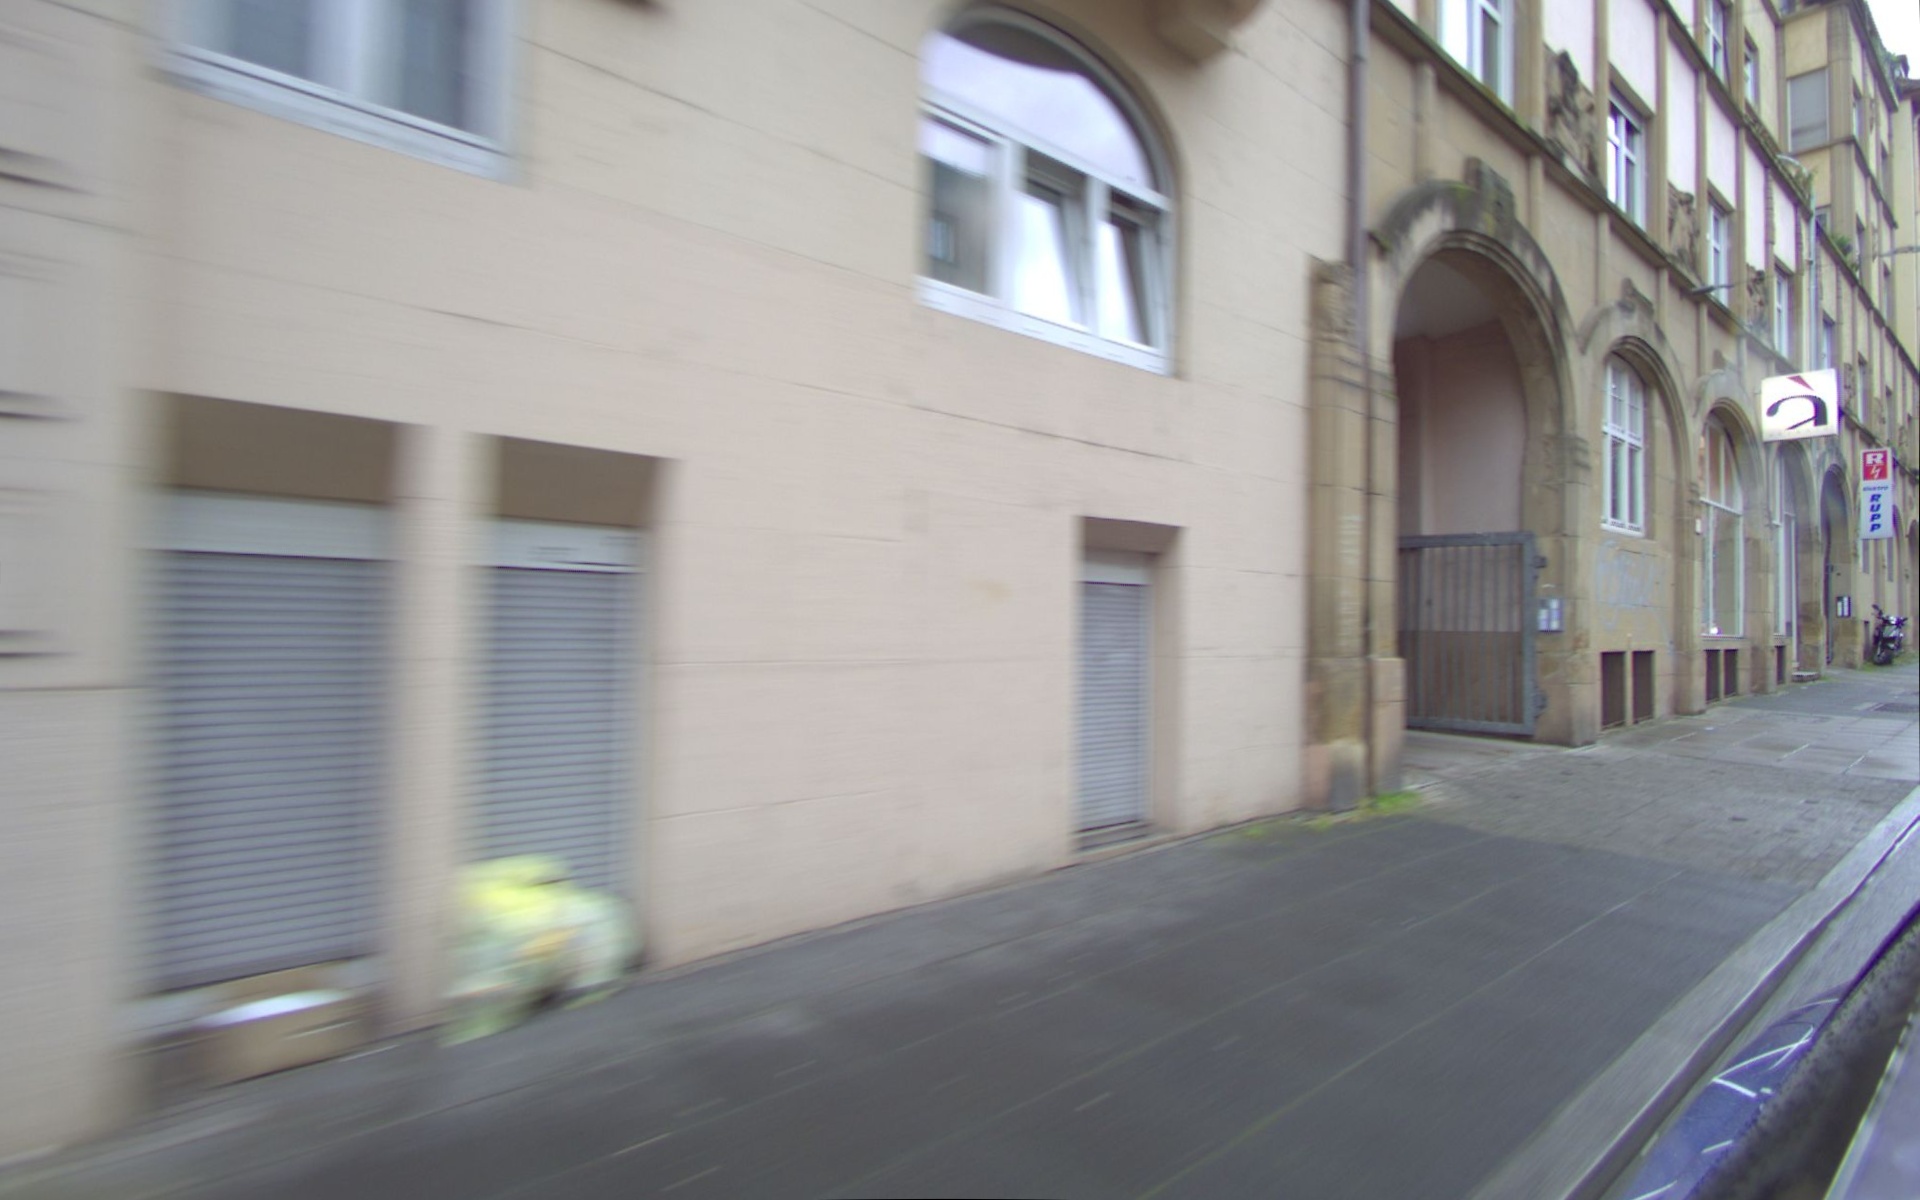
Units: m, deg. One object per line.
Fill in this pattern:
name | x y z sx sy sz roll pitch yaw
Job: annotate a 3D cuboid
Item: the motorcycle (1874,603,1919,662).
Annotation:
motorcycle | 21.835 0.723 23.431 1.747 1.252 0.692 1 5 -41
